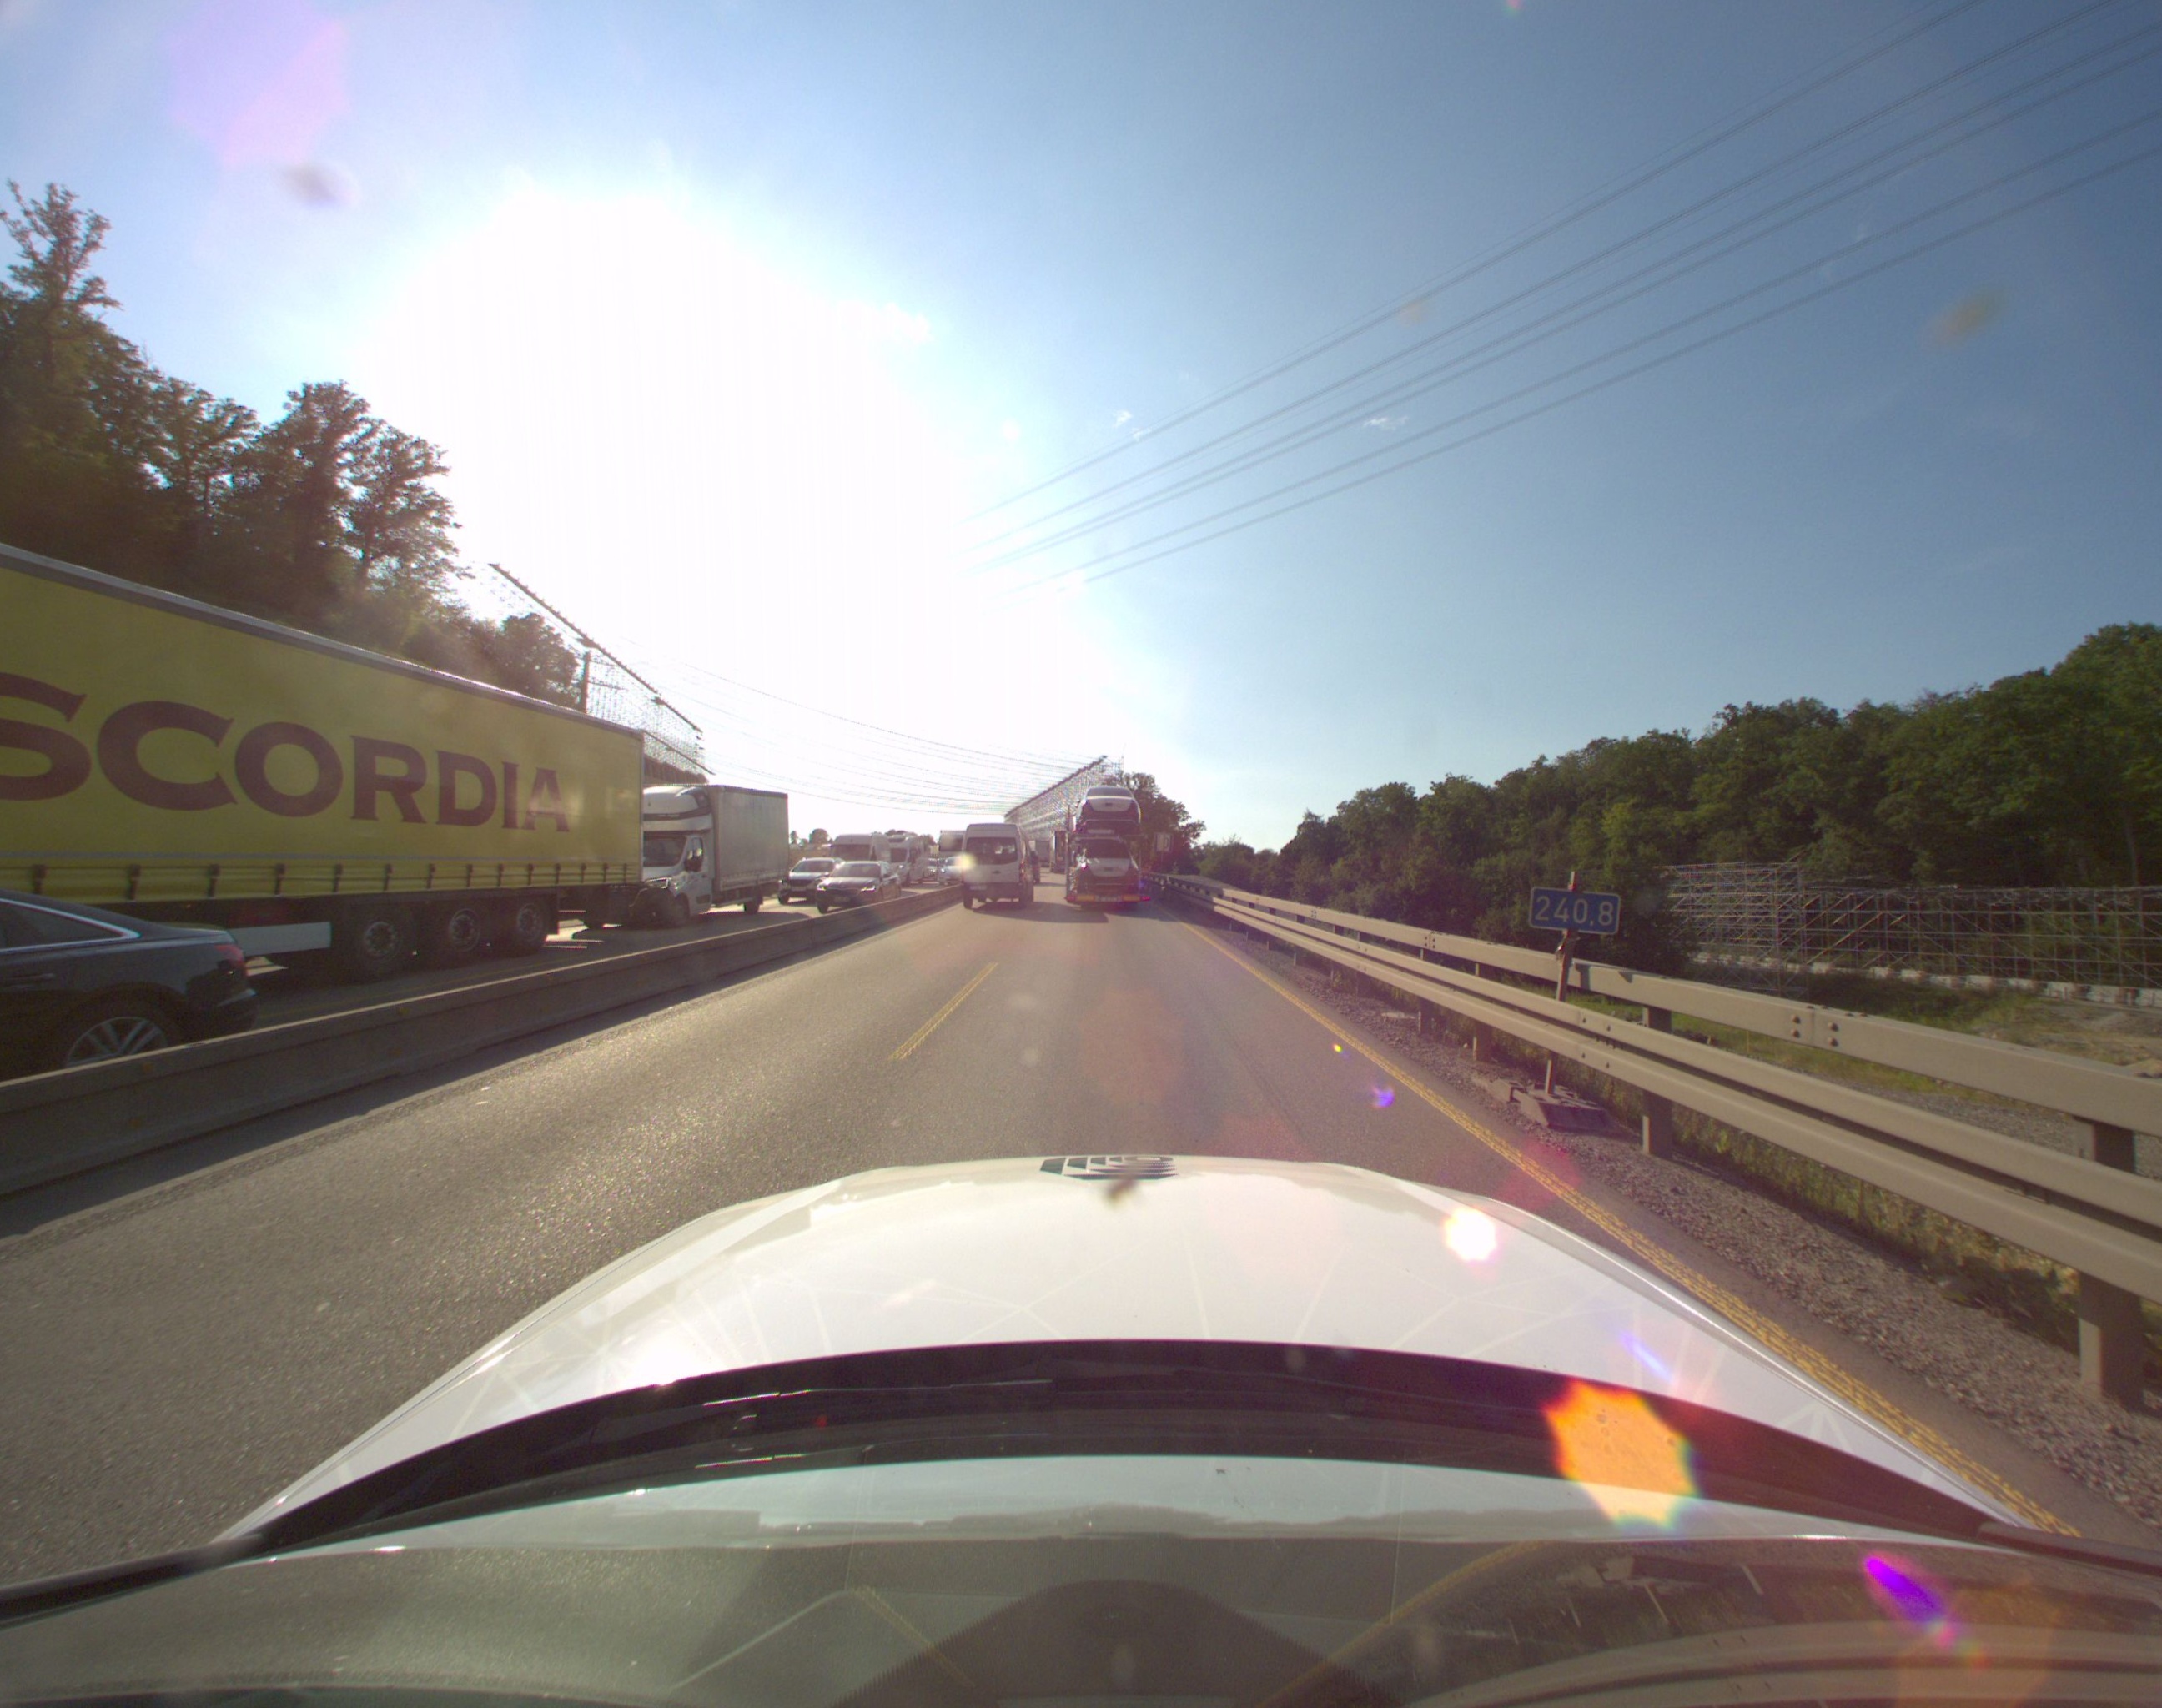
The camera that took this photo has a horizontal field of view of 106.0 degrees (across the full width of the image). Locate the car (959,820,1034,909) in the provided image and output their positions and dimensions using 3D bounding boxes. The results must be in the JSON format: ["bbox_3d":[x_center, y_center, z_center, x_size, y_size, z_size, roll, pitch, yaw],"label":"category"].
[{"bbox_3d":[-2.628,0.337,26.148,1.950,2.621,3.999,-1,-1,0],"label":"car"}]

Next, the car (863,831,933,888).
[{"bbox_3d":[-10.208,0.320,46.062,2.327,2.918,7.628,-1,-1,-1],"label":"car"}]

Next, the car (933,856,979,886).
[{"bbox_3d":[-7.135,0.932,47.082,2.053,1.486,4.722,-3,1,-3],"label":"car"}]

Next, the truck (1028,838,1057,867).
[{"bbox_3d":[-6.199,-0.262,128.716,3.682,4.220,13.640,-3,1,-6],"label":"truck"}]

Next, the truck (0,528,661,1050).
[{"bbox_3d":[-9.795,-0.473,9.152,2.698,4.088,14.152,-1,-1,0],"label":"truck"}]

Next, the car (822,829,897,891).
[{"bbox_3d":[-10.057,0.294,37.475,1.951,2.621,5.745,-1,-1,-1],"label":"car"}]

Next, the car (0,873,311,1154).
[{"bbox_3d":[-6.548,0.839,3.582,1.801,1.426,4.673,1,0,1],"label":"car"}]

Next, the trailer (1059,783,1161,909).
[{"bbox_3d":[0.660,-0.181,31.530,2.862,3.725,14.934,0,0,-2],"label":"trailer"}]

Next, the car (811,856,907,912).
[{"bbox_3d":[-6.598,0.849,24.685,1.648,1.523,4.287,1,-1,1],"label":"car"}]

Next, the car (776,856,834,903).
[{"bbox_3d":[-9.621,0.842,28.571,1.768,1.523,3.978,1,-1,-18],"label":"car"}]

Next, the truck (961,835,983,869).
[{"bbox_3d":[-14.350,-0.242,107.666,2.742,4.300,5.919,0,-1,-7],"label":"truck"}]

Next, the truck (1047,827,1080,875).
[{"bbox_3d":[-1.850,-0.294,81.025,2.726,4.385,11.506,1,0,-3],"label":"truck"}]

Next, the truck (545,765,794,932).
[{"bbox_3d":[-9.879,-0.095,20.717,2.439,3.463,7.615,0,0,0],"label":"truck"}]

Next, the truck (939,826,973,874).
[{"bbox_3d":[-11.467,-0.331,74.846,2.709,4.218,5.672,0,-1,-5],"label":"truck"}]

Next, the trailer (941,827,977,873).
[{"bbox_3d":[-12.074,-0.285,81.650,2.716,4.218,13.723,0,0,-5],"label":"trailer"}]

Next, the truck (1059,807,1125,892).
[{"bbox_3d":[0.366,-0.180,39.163,2.874,3.702,7.320,0,0,-2],"label":"truck"}]

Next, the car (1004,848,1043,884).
[{"bbox_3d":[-3.425,0.719,49.190,1.987,2.014,4.000,1,-1,1],"label":"car"}]
